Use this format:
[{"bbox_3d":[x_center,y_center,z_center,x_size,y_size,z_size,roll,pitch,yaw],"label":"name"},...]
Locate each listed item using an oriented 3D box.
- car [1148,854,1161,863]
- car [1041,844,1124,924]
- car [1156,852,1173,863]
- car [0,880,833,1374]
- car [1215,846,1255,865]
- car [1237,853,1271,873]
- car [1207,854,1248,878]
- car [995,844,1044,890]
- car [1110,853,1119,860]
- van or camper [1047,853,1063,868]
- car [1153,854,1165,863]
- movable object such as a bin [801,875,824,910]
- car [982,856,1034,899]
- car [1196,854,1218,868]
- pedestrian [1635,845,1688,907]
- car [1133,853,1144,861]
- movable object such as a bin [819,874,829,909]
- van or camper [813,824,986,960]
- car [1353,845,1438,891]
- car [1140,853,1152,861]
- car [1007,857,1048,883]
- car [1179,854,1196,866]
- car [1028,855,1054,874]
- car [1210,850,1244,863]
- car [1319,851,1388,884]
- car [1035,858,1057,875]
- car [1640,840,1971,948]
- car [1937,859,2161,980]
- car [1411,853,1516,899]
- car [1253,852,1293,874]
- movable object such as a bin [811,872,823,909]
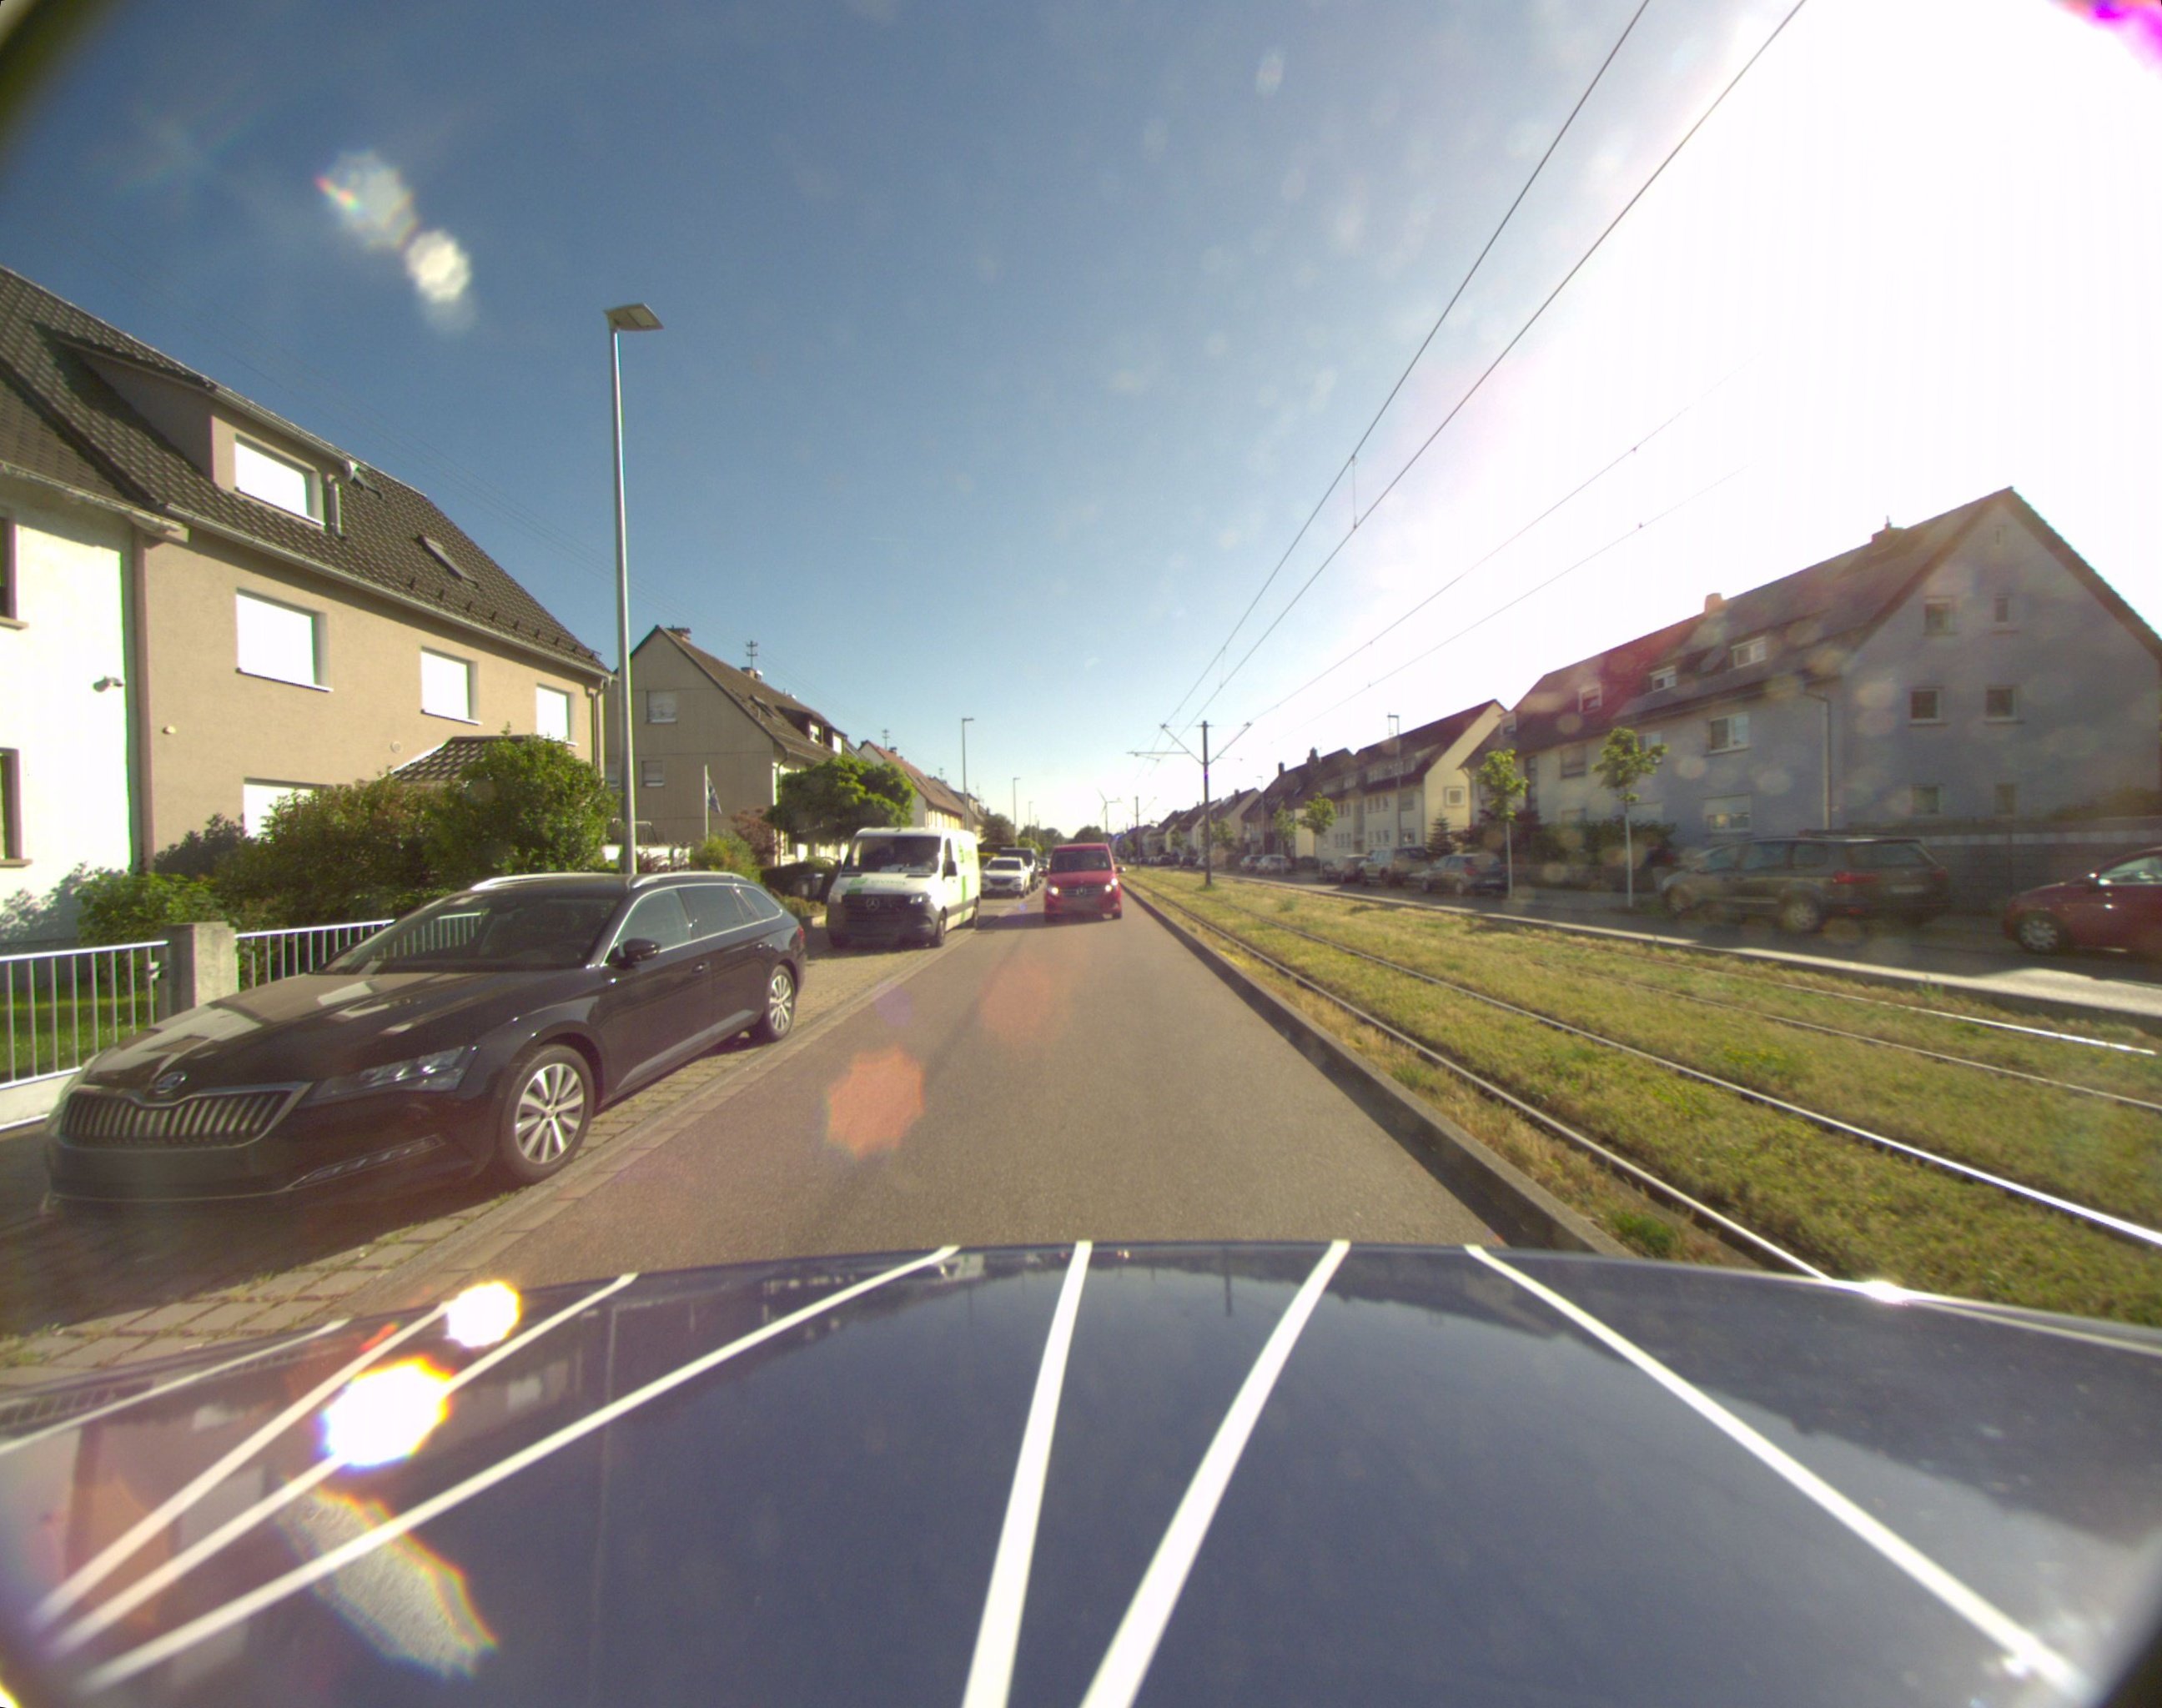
[{"bbox_3d":[12.625,0.792,130.123,1.658,1.447,4.400,-3,0,-1],"label":"car"},{"bbox_3d":[-0.028,0.721,21.466,1.999,1.889,5.389,-2,1,-1],"label":"car"},{"bbox_3d":[13.201,0.578,119.740,1.926,1.551,4.857,-3,1,-2],"label":"car"},{"bbox_3d":[-3.447,1.034,5.206,1.753,1.485,5.155,0,1,1],"label":"car"},{"bbox_3d":[19.038,0.196,93.918,4.472,2.068,1.787,-4,1,0],"label":"car"},{"bbox_3d":[14.179,0.686,62.399,1.693,1.464,4.314,-3,1,-1],"label":"car"},{"bbox_3d":[10.533,0.848,55.039,1.862,1.592,4.327,1,0,-4],"label":"car"},{"bbox_3d":[-2.973,0.594,37.980,1.965,2.131,5.335,0,0,0],"label":"car"},{"bbox_3d":[7.433,0.467,168.865,1.693,1.467,3.679,-3,1,-1],"label":"car"},{"bbox_3d":[-3.243,0.823,96.395,1.954,1.836,5.581,0,0,-2],"label":"van or camper"},{"bbox_3d":[12.793,0.770,124.993,1.469,1.459,3.998,-1,0,-2],"label":"car"},{"bbox_3d":[-8.267,1.188,23.379,0.516,1.038,0.464,-1,1,0],"label":"movable object such as a bin"},{"bbox_3d":[-3.037,0.950,32.340,1.730,1.636,4.318,0,0,0],"label":"car"},{"bbox_3d":[14.097,0.786,85.424,1.662,1.428,4.102,-2,0,-1],"label":"car"},{"bbox_3d":[15.729,0.576,20.603,0.697,1.630,0.919,-3,1,-1],"label":"pedestrian"},{"bbox_3d":[11.910,0.687,156.846,1.832,1.522,4.092,-3,1,-1],"label":"car"},{"bbox_3d":[-7.977,1.159,23.558,0.215,1.057,0.321,-2,2,-29],"label":"movable object such as a bin"},{"bbox_3d":[-3.417,0.602,15.806,1.998,2.258,6.304,0,1,1],"label":"van or camper"},{"bbox_3d":[13.888,0.561,33.862,1.749,1.812,4.841,-3,0,1],"label":"car"},{"bbox_3d":[12.335,0.638,144.951,1.705,1.389,4.092,-3,1,-1],"label":"car"},{"bbox_3d":[-3.079,0.894,44.867,1.857,1.435,5.614,1,0,2],"label":"car"},{"bbox_3d":[13.752,0.783,98.174,1.623,1.503,4.085,-2,0,0],"label":"car"},{"bbox_3d":[-3.232,0.828,61.749,1.782,1.490,4.728,-1,0,1],"label":"car"},{"bbox_3d":[20.459,0.330,106.463,4.404,1.773,1.970,-1,0,-1],"label":"car"},{"bbox_3d":[14.269,0.652,40.045,1.965,1.531,4.556,-3,1,0],"label":"car"},{"bbox_3d":[-3.051,1.125,67.333,1.752,1.438,4.699,0,-1,-1],"label":"car"},{"bbox_3d":[13.604,0.652,14.820,1.824,1.674,4.846,-3,0,1],"label":"car"},{"bbox_3d":[13.643,0.778,9.334,1.699,1.396,4.079,-1,0,1],"label":"car"},{"bbox_3d":[13.903,0.745,27.908,1.680,1.482,4.049,-3,0,-2],"label":"car"},{"bbox_3d":[14.200,0.670,56.402,1.693,1.467,4.442,-3,1,-1],"label":"car"},{"bbox_3d":[-8.094,1.120,23.306,0.280,1.089,0.329,-2,2,-29],"label":"movable object such as a bin"}]
